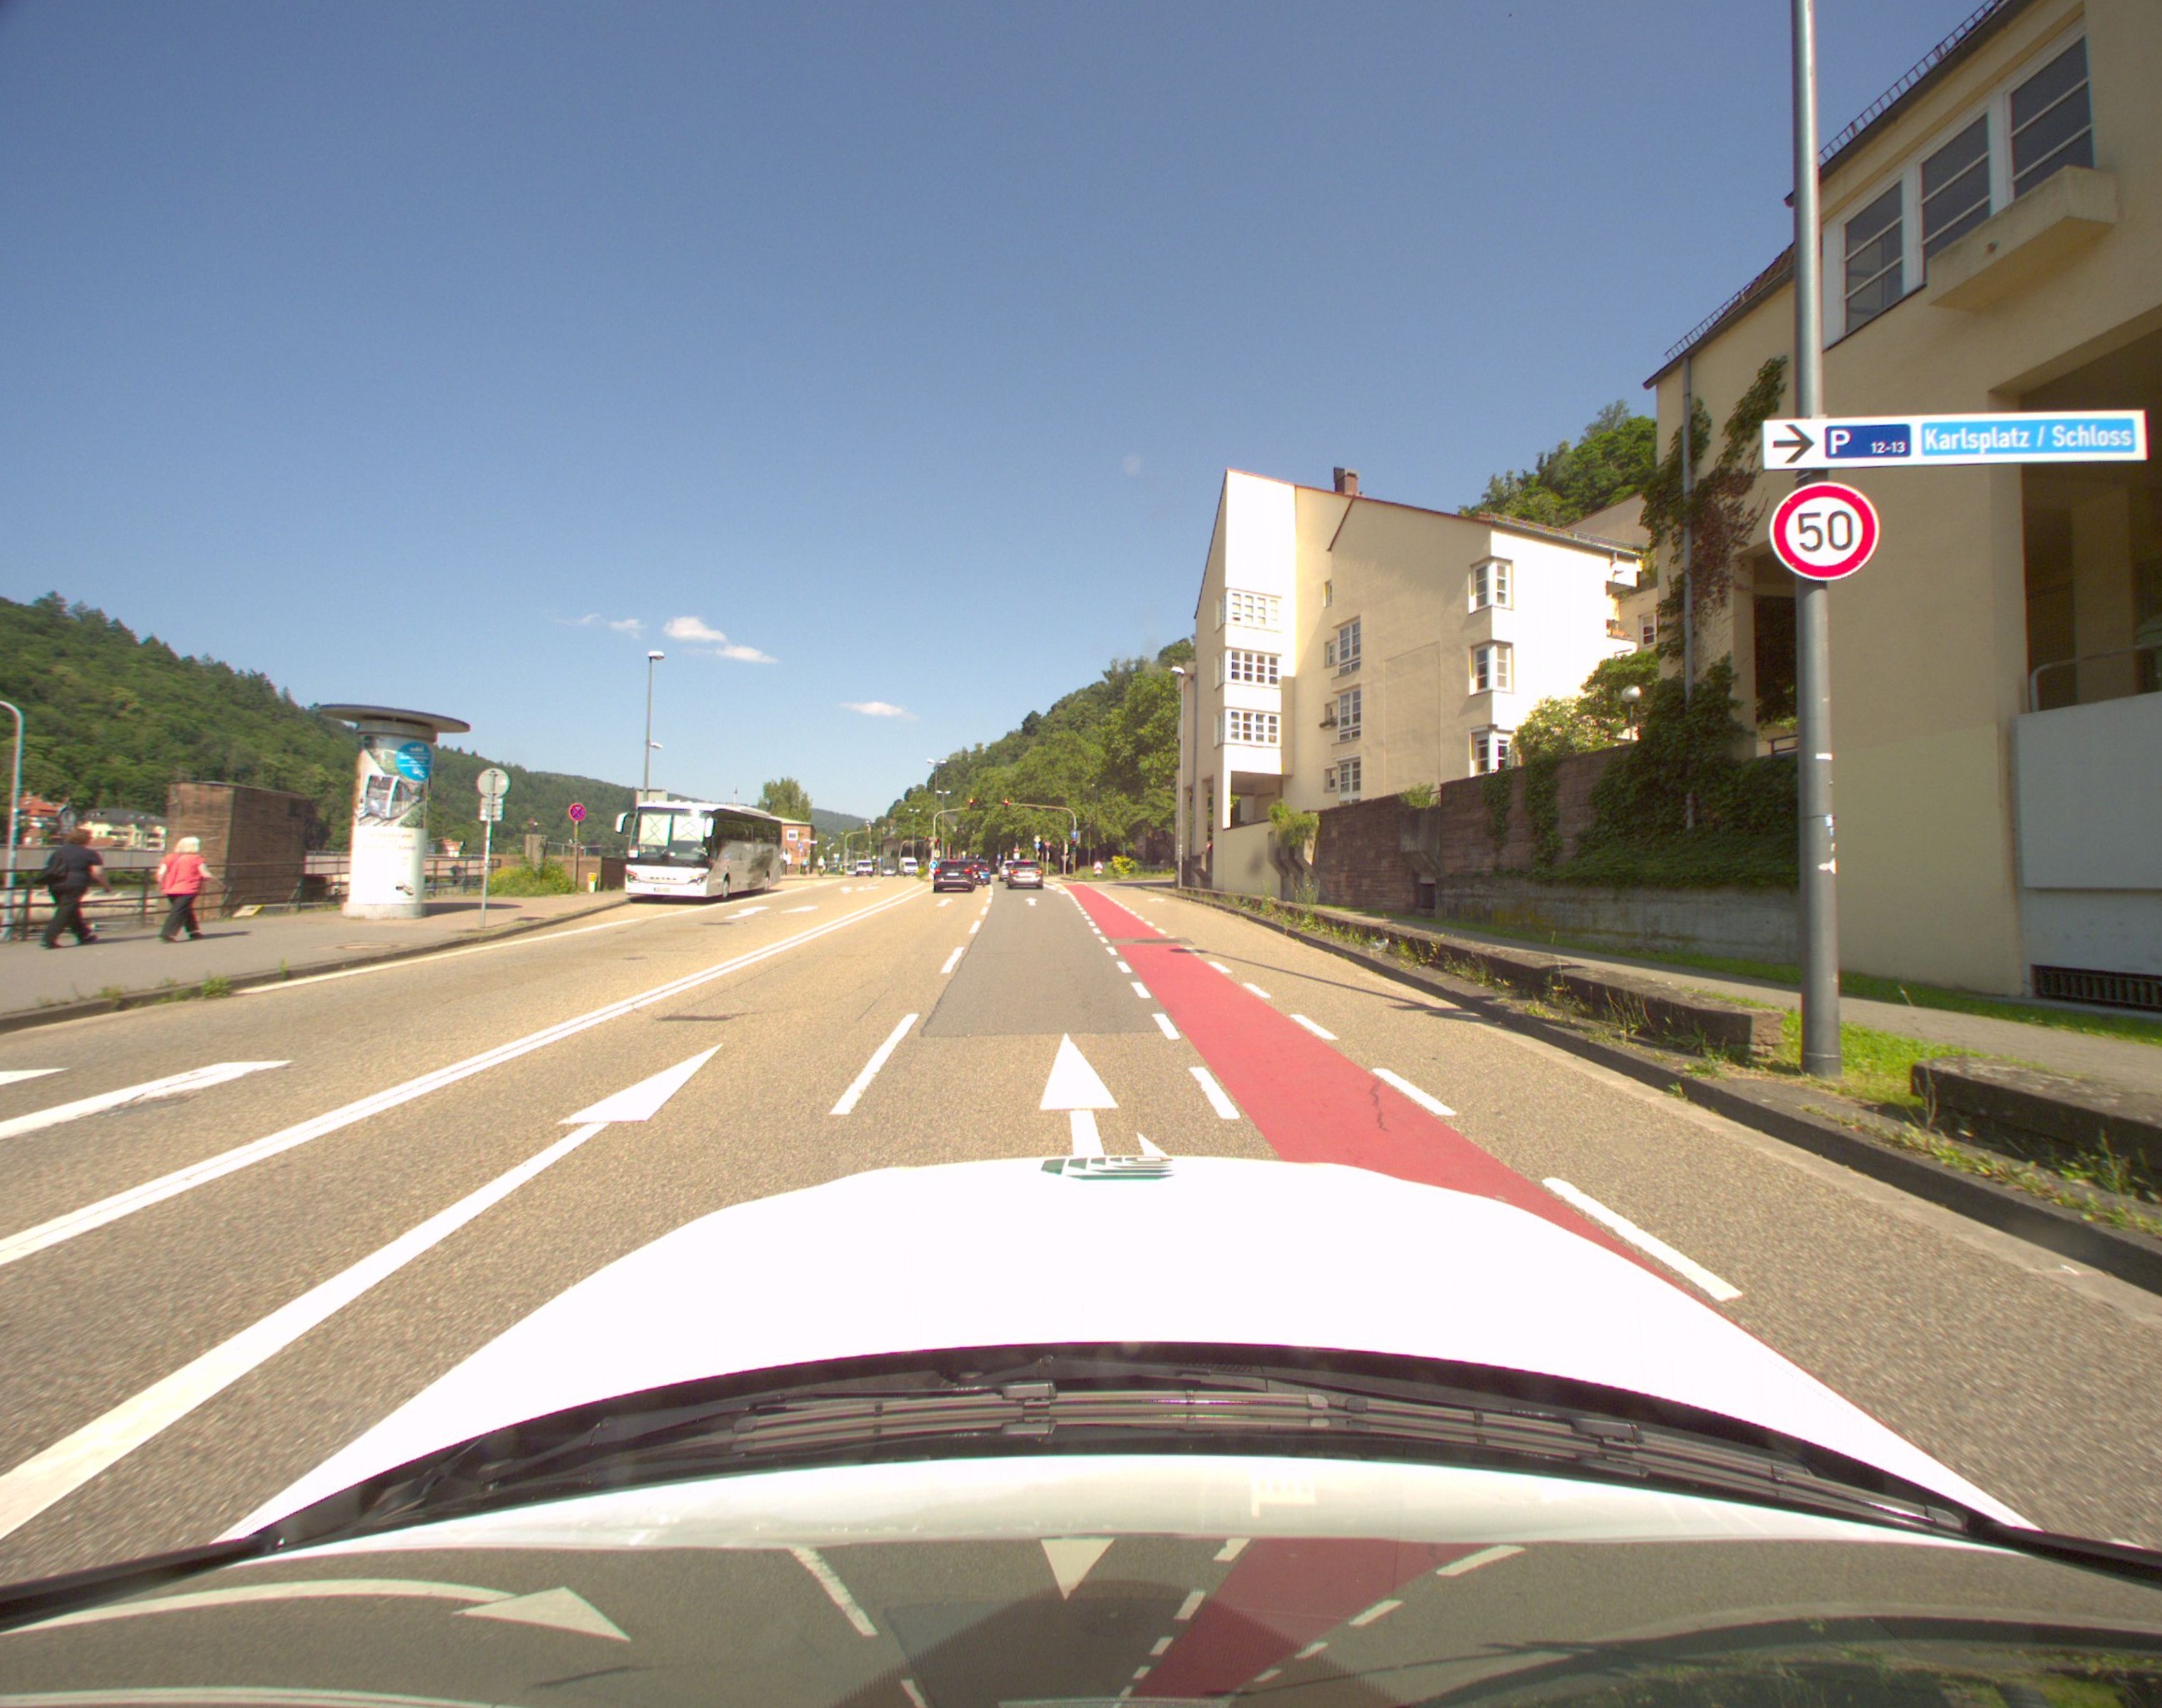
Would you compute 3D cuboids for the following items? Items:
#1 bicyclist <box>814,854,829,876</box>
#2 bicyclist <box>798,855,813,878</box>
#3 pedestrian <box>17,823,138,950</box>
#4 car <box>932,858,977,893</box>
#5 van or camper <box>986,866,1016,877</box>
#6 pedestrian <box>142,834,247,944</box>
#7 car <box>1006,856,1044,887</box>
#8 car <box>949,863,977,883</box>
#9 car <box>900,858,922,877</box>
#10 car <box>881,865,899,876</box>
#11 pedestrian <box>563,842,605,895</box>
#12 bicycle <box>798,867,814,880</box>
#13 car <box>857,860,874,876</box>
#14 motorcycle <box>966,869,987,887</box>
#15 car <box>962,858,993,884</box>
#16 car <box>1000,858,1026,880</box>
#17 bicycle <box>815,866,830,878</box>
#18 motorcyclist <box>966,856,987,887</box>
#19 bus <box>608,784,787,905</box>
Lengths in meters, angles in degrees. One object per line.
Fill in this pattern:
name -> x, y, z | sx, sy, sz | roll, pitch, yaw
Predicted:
bicyclist -> -24.237, 1.065, 76.165 | 1.214, 2.013, 1.113 | -1, 0, -16
bicyclist -> -25.205, 1.137, 74.601 | 1.214, 2.014, 1.113 | 0, -1, -16
pedestrian -> -13.993, 0.446, 11.384 | 0.683, 1.709, 0.770 | 1, -1, -10
car -> -5.871, 0.972, 38.186 | 1.867, 1.514, 4.141 | 2, -1, -6
van or camper -> -13.185, 2.866, 134.018 | 4.513, 1.902, 2.006 | -1, -1, 11
pedestrian -> -13.520, 0.522, 12.448 | 0.703, 1.621, 0.813 | 1, -1, -15
car -> -2.965, 0.926, 43.056 | 1.885, 1.521, 4.298 | 2, -1, -5
car -> -8.449, 1.307, 58.485 | 1.865, 1.359, 3.990 | 0, 0, -7
car -> -23.954, 1.851, 114.428 | 2.390, 2.576, 6.018 | 0, -1, -18
car -> -26.039, 2.287, 111.065 | 1.993, 1.432, 4.154 | 0, 0, -9
pedestrian -> -17.247, 0.502, 28.308 | 0.892, 1.796, 1.037 | 1, -1, -11
bicycle -> -25.222, 1.764, 74.643 | 1.215, 1.090, 2.584 | 0, -1, -16
car -> -29.047, 1.849, 109.683 | 2.219, 2.078, 5.016 | 0, 0, -16
motorcycle -> -5.689, 1.303, 44.511 | 1.036, 0.919, 2.600 | 0, 0, -5
car -> -6.471, 1.041, 51.070 | 1.865, 1.562, 3.990 | 0, 0, -7
car -> -4.927, 1.098, 58.848 | 1.783, 1.532, 4.726 | 0, -1, -6
bicycle -> -24.131, 1.695, 76.036 | 1.215, 1.090, 2.584 | -1, 0, -16
motorcyclist -> -5.677, 0.936, 44.386 | 1.074, 1.684, 1.154 | 0, -1, -6
bus -> -14.599, -0.246, 32.564 | 2.956, 3.801, 13.198 | 1, -1, -10
